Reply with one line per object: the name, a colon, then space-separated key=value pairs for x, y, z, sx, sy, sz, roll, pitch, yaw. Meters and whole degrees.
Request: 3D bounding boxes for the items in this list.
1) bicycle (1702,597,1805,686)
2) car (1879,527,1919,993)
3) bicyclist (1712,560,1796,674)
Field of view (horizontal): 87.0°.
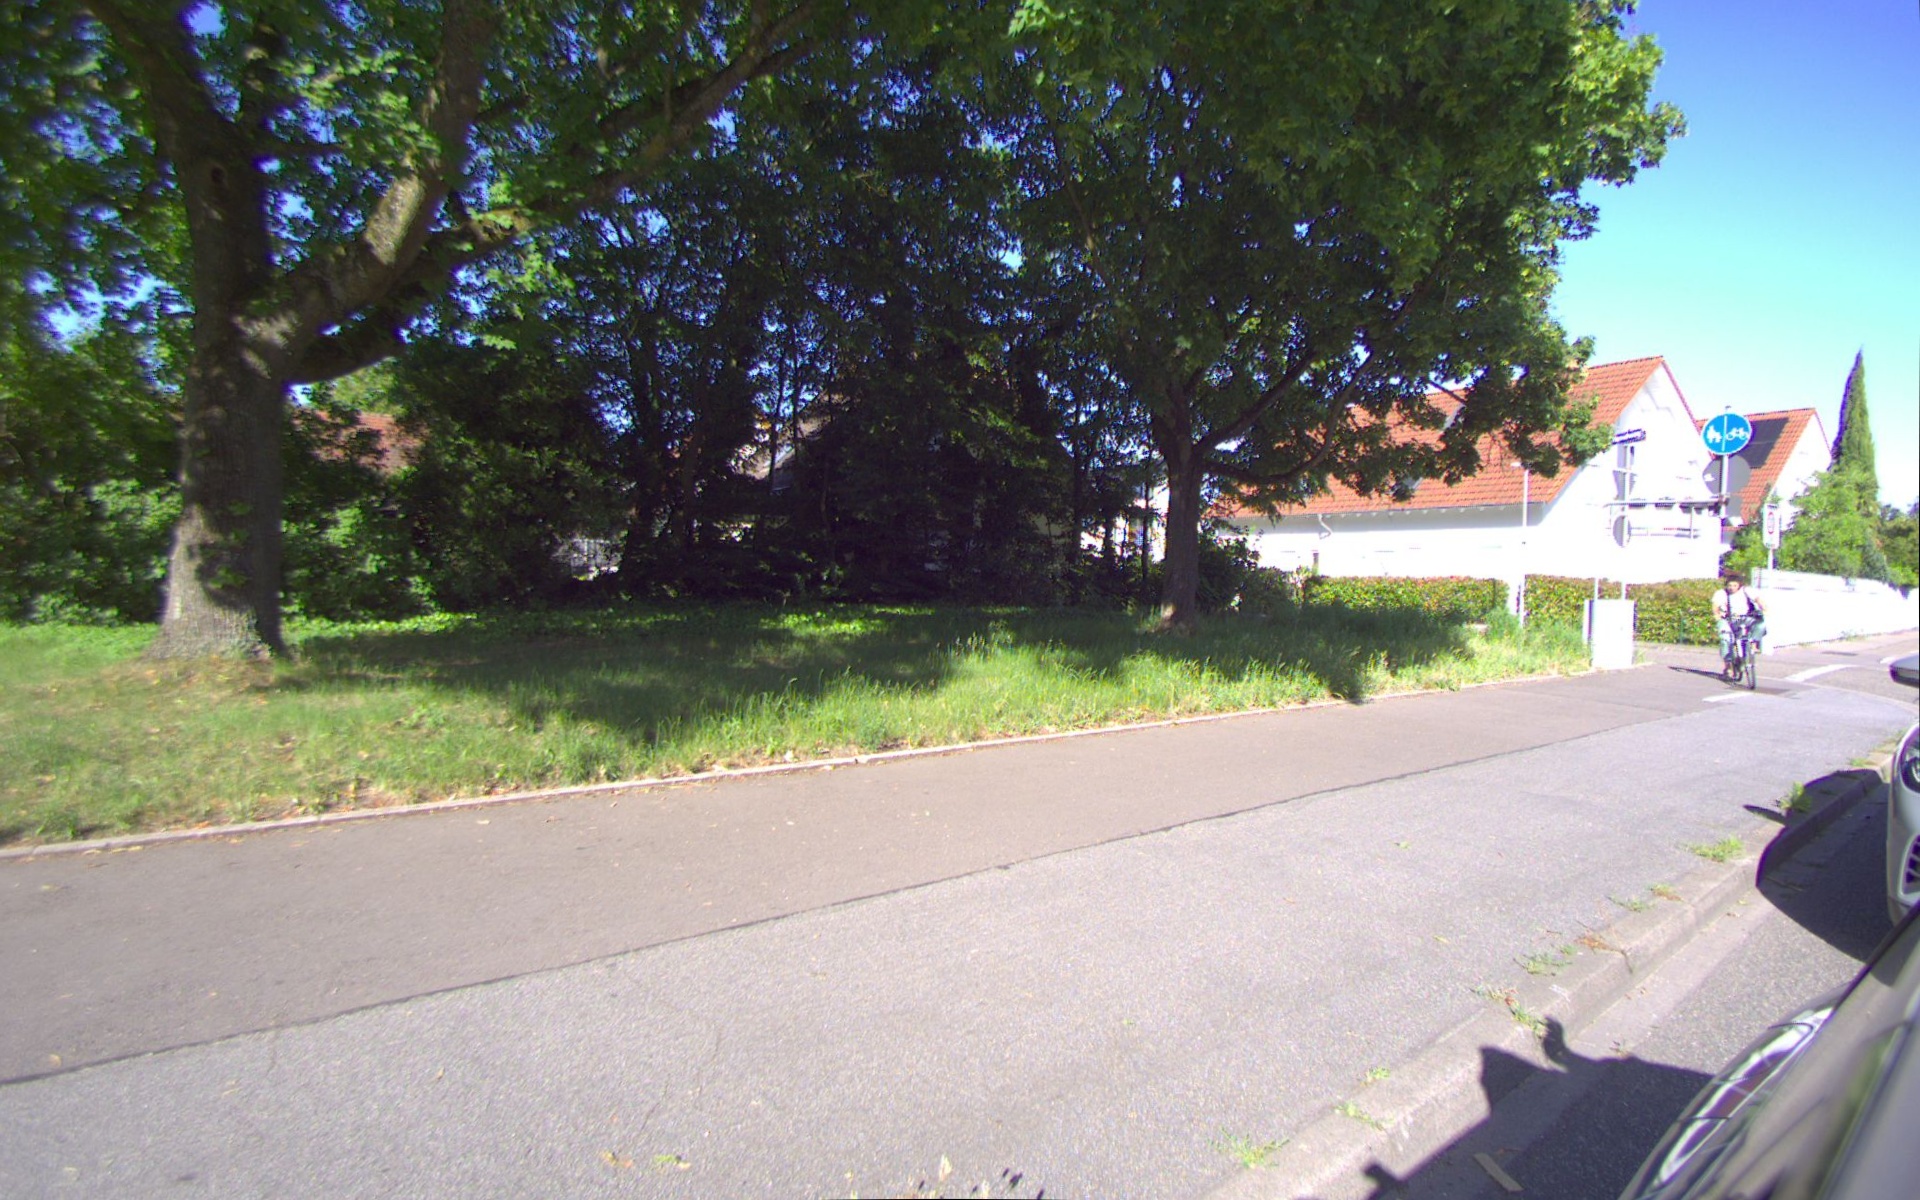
bicycle: x=11.896 y=0.582 z=15.248 sx=0.574 sy=1.110 sz=1.974 roll=6 pitch=5 yaw=21
car: x=5.633 y=0.611 z=4.431 sx=4.133 sy=1.710 sz=1.857 roll=0 pitch=3 yaw=-41
bicyclist: x=11.916 y=0.227 z=15.222 sx=0.574 sy=1.599 sz=0.991 roll=5 pitch=4 yaw=22
